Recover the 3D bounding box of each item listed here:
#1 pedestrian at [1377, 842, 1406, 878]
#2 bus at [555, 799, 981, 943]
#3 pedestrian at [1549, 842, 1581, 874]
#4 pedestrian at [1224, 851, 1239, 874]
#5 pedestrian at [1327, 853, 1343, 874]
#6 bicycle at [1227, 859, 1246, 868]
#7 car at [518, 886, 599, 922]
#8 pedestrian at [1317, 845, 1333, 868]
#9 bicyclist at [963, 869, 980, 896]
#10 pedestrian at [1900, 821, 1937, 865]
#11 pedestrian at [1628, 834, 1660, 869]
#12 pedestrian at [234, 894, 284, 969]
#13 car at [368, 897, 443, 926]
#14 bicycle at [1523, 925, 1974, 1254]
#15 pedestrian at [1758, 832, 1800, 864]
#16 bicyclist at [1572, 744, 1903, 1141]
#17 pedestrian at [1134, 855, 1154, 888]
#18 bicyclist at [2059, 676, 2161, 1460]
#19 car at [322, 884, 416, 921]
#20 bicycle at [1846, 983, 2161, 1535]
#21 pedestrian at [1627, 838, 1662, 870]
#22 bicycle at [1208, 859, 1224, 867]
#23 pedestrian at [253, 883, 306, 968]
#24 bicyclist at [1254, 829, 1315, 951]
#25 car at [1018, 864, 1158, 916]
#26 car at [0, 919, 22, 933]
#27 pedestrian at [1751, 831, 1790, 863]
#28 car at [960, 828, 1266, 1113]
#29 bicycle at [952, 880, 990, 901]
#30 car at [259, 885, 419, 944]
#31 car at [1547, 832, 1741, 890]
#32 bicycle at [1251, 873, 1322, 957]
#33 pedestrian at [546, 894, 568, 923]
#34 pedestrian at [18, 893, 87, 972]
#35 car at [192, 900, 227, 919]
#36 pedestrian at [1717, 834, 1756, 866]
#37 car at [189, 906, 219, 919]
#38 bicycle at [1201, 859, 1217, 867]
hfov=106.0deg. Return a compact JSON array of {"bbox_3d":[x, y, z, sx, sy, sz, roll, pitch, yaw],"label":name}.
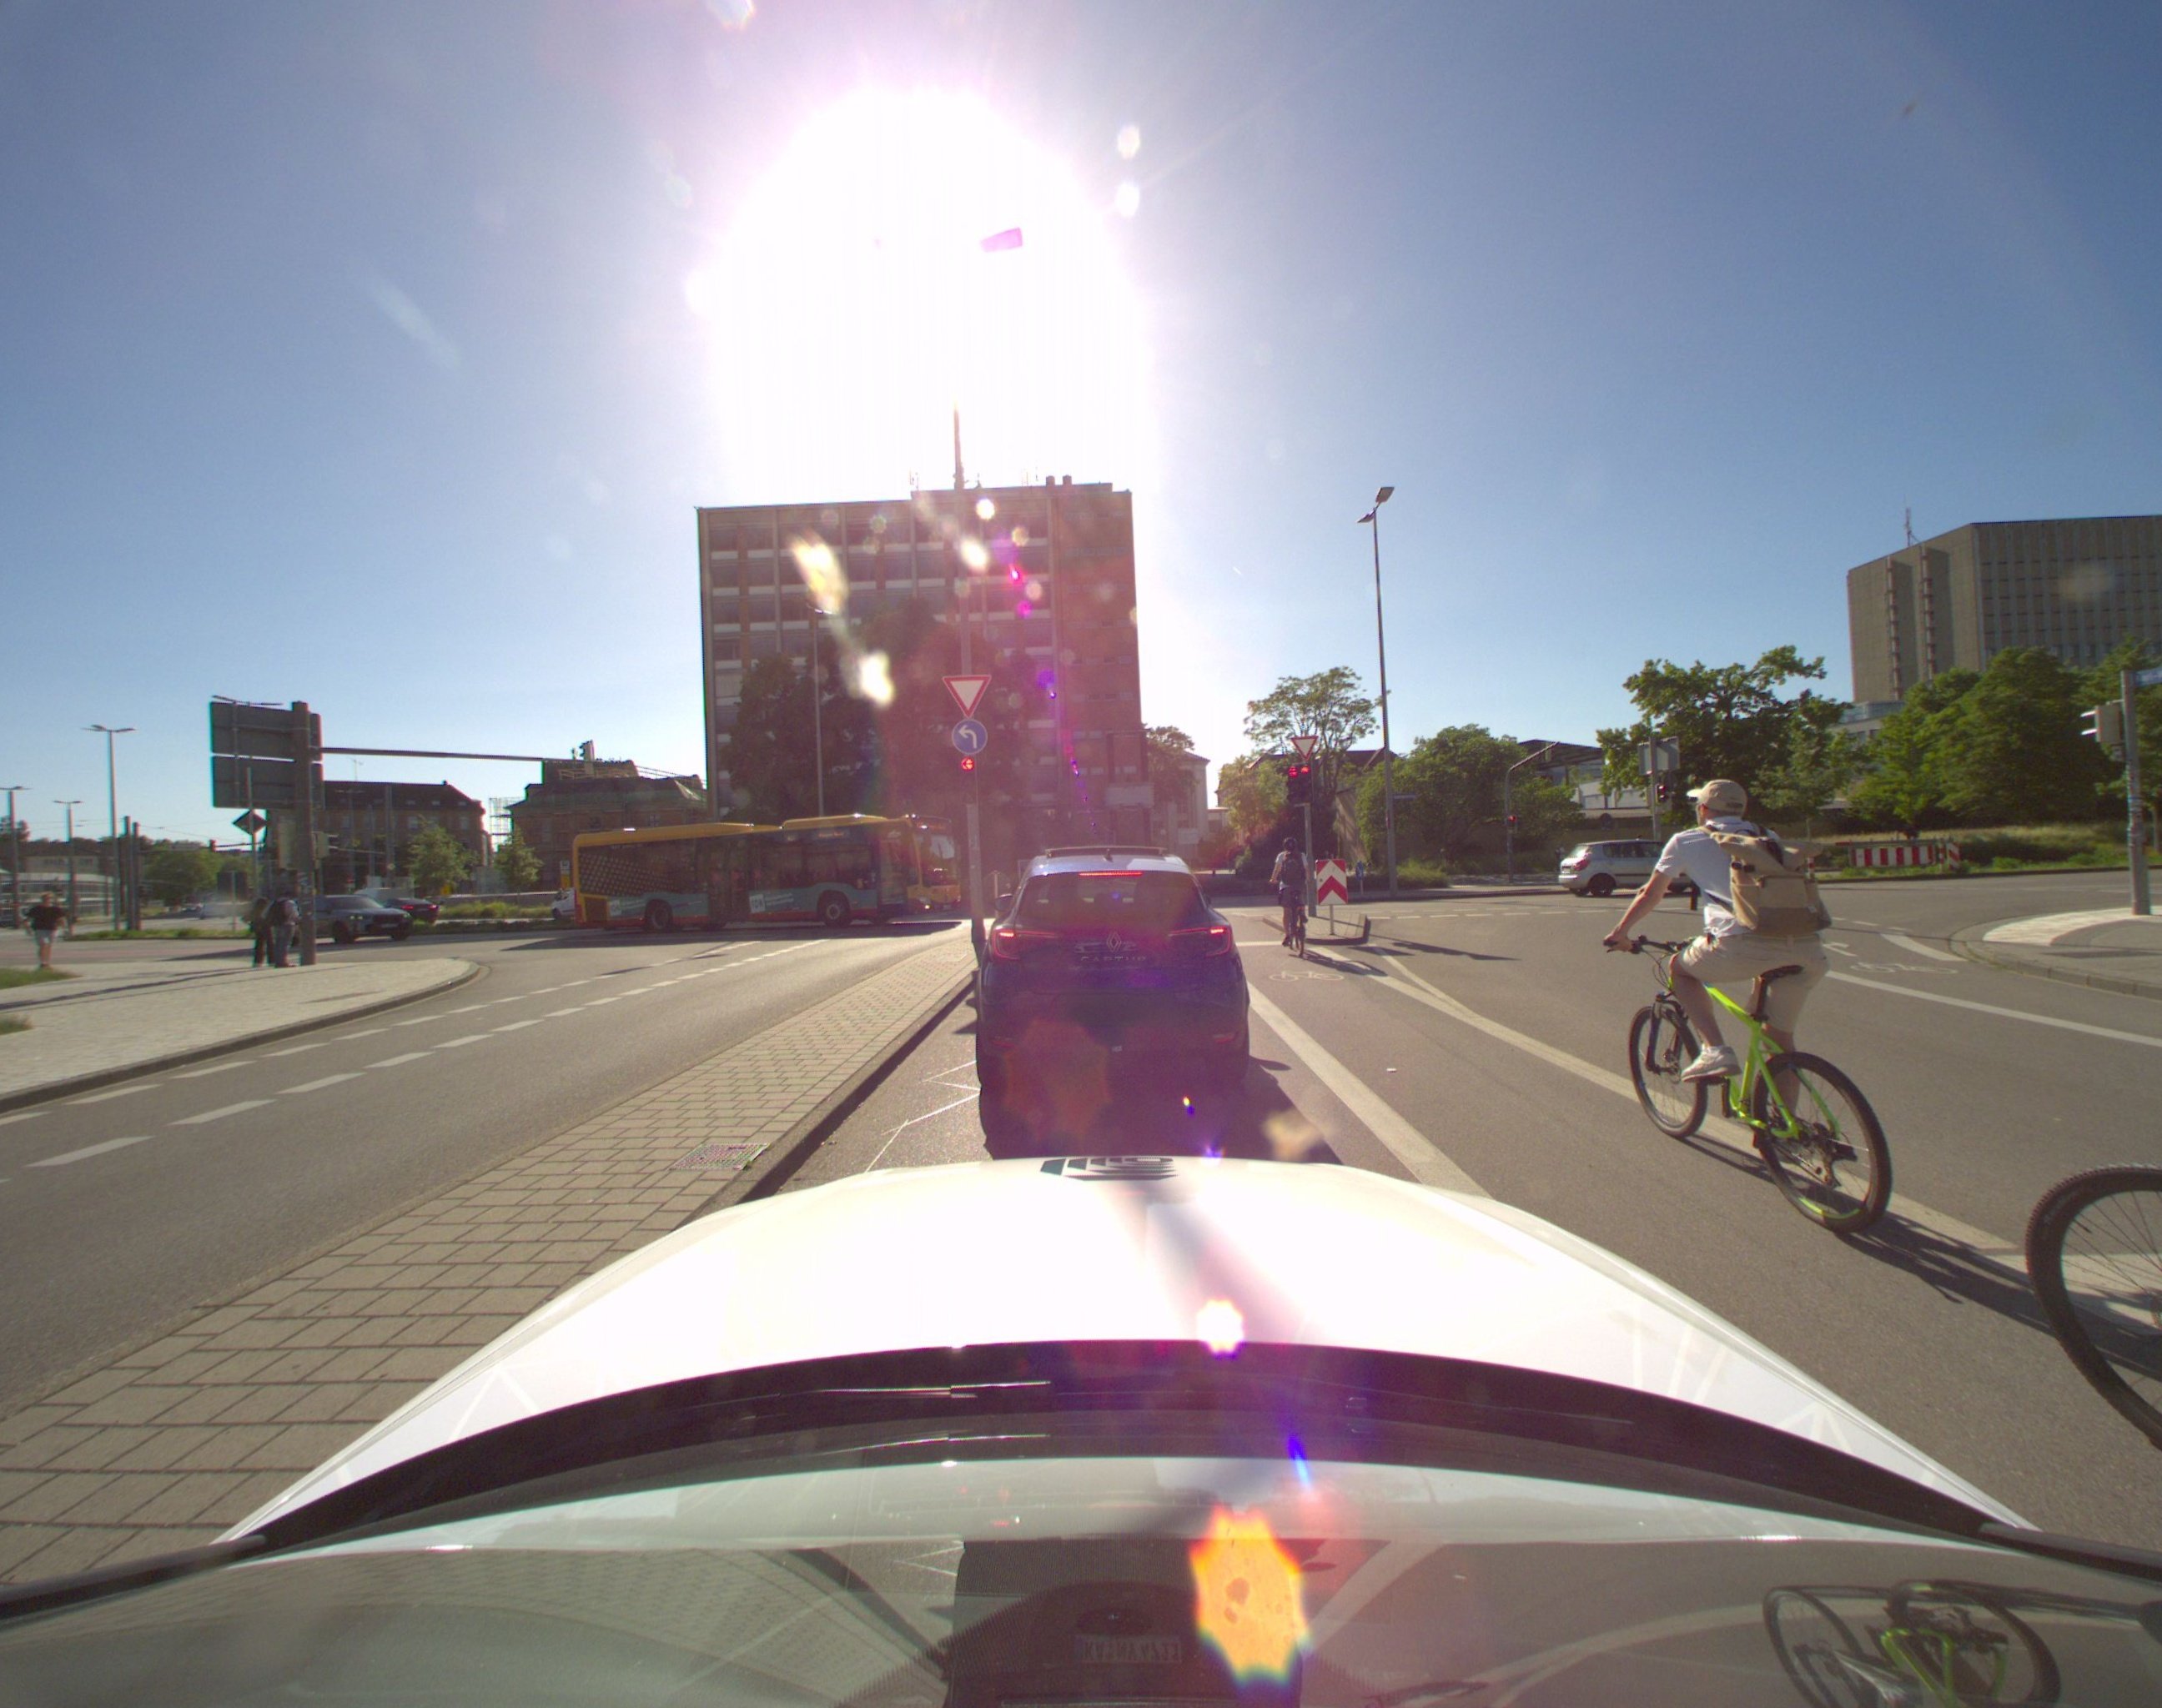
[{"bbox_3d":[16.675,0.315,43.800,1.288,1.855,0.969,-3,-1,13],"label":"pedestrian"},{"bbox_3d":[-9.427,0.618,24.367,12.325,3.570,3.265,-3,0,17],"label":"bus"},{"bbox_3d":[24.365,0.198,40.989,1.078,1.521,0.933,-2,-1,11],"label":"pedestrian"},{"bbox_3d":[13.412,0.745,72.629,1.152,2.013,1.165,-2,-1,2],"label":"pedestrian"},{"bbox_3d":[20.285,0.755,65.087,0.932,1.613,1.176,-2,-1,2],"label":"pedestrian"},{"bbox_3d":[15.805,0.952,82.830,1.770,0.823,0.763,-2,-1,-9],"label":"bicycle"},{"bbox_3d":[-32.353,3.089,50.357,4.951,2.013,2.085,-3,-1,30],"label":"car"},{"bbox_3d":[19.678,0.209,65.577,0.949,1.741,0.984,-2,-1,2],"label":"pedestrian"},{"bbox_3d":[-5.969,1.558,44.240,0.641,1.412,0.642,-1,-3,-35],"label":"bicyclist"},{"bbox_3d":[41.263,-0.543,40.141,0.891,2.079,0.814,-2,-1,5],"label":"pedestrian"},{"bbox_3d":[28.514,-0.120,41.240,0.957,1.732,0.928,-2,-1,8],"label":"pedestrian"},{"bbox_3d":[-19.322,1.816,19.149,0.627,1.697,0.608,-3,-1,25],"label":"pedestrian"},{"bbox_3d":[-39.594,3.362,47.750,3.771,1.518,2.012,-3,-1,27],"label":"car"},{"bbox_3d":[2.958,0.945,3.920,0.669,1.050,1.844,0,0,1],"label":"bicycle"},{"bbox_3d":[34.338,-0.301,40.076,1.123,1.521,0.992,-2,-1,5],"label":"pedestrian"},{"bbox_3d":[2.948,0.354,3.798,0.672,1.583,1.081,0,0,1],"label":"bicyclist"},{"bbox_3d":[3.584,0.993,46.374,0.926,1.855,0.809,-3,-1,11],"label":"pedestrian"},{"bbox_3d":[2.654,0.448,1.441,0.737,1.674,0.865,-2,-1,0],"label":"bicyclist"},{"bbox_3d":[-54.081,3.705,61.834,6.869,2.547,3.031,-3,-1,28],"label":"car"},{"bbox_3d":[2.670,0.922,1.476,0.745,1.050,1.903,-3,0,0],"label":"bicycle"},{"bbox_3d":[27.663,0.009,39.978,1.069,1.521,0.880,-2,-1,6],"label":"pedestrian"},{"bbox_3d":[15.697,1.062,94.642,1.764,0.898,0.766,-2,-1,2],"label":"bicycle"},{"bbox_3d":[-18.175,1.600,18.470,0.673,1.855,0.608,-3,-1,25],"label":"pedestrian"},{"bbox_3d":[3.088,0.537,12.434,0.674,1.785,0.939,-1,-1,0],"label":"bicyclist"},{"bbox_3d":[0.258,1.099,25.010,3.961,1.373,1.765,-3,0,11],"label":"car"},{"bbox_3d":[-116.706,7.835,88.415,3.948,1.389,2.013,-4,-1,39],"label":"car"},{"bbox_3d":[34.496,-0.335,40.781,1.138,1.521,0.880,-3,-1,5],"label":"pedestrian"},{"bbox_3d":[0.220,0.686,6.737,1.788,1.655,3.853,-1,0,1],"label":"car"},{"bbox_3d":[-5.950,1.976,44.212,1.876,1.007,0.693,-1,-4,-35],"label":"bicycle"},{"bbox_3d":[-26.491,2.159,29.115,4.690,1.861,2.014,-3,-1,16],"label":"car"},{"bbox_3d":[15.048,0.238,21.995,3.819,1.403,1.897,-1,-3,11],"label":"car"},{"bbox_3d":[3.098,0.885,12.433,0.613,1.138,1.826,-2,0,0],"label":"bicycle"},{"bbox_3d":[-37.913,3.956,58.922,0.853,2.013,1.009,-3,-1,23],"label":"pedestrian"},{"bbox_3d":[-25.507,1.929,20.197,0.856,1.845,0.847,-3,-1,25],"label":"pedestrian"},{"bbox_3d":[-97.389,6.178,91.017,3.948,2.014,2.079,-1,-1,33],"label":"car"},{"bbox_3d":[32.459,-0.209,40.322,1.140,1.521,0.944,-2,-1,7],"label":"pedestrian"},{"bbox_3d":[-116.398,7.749,108.054,3.948,1.582,2.013,-1,-1,33],"label":"car"},{"bbox_3d":[15.552,1.116,99.012,1.764,0.893,0.766,-2,-1,2],"label":"bicycle"}]
